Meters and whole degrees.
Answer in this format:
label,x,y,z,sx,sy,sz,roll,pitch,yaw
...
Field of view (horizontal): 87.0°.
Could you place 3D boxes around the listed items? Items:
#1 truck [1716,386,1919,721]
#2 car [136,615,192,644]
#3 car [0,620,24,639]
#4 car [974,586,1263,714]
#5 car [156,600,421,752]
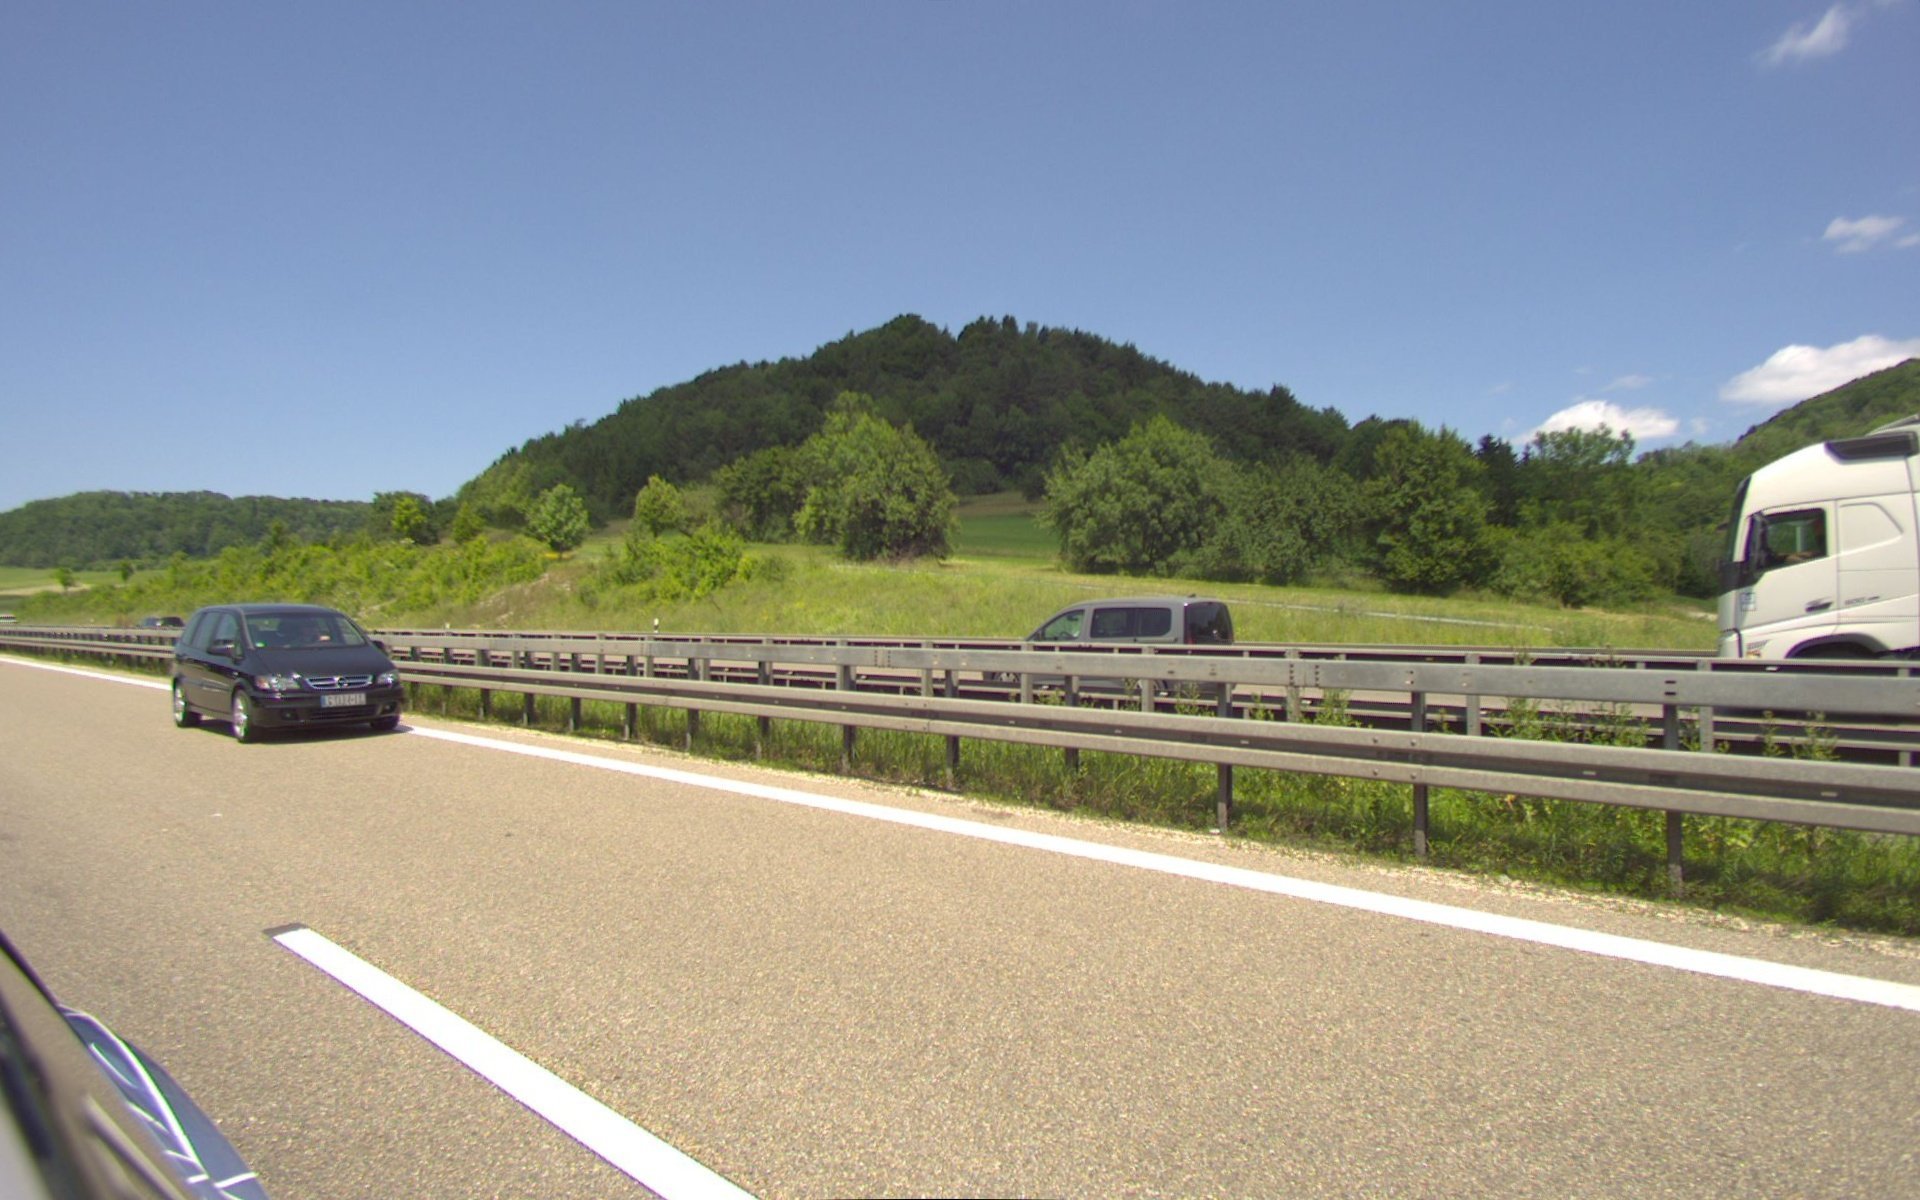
label,x,y,z,sx,sy,sz,roll,pitch,yaw
truck,14.258,-0.612,12.901,7.227,4.264,2.769,0,0,41
car,-46.495,1.700,59.111,4.075,1.622,1.830,-1,-1,40
car,-101.405,3.154,107.786,4.657,1.956,2.039,-1,-1,40
car,2.552,0.747,16.933,4.405,1.867,1.972,-1,0,42
car,-8.807,0.863,13.120,4.444,1.647,1.782,-1,-1,41
